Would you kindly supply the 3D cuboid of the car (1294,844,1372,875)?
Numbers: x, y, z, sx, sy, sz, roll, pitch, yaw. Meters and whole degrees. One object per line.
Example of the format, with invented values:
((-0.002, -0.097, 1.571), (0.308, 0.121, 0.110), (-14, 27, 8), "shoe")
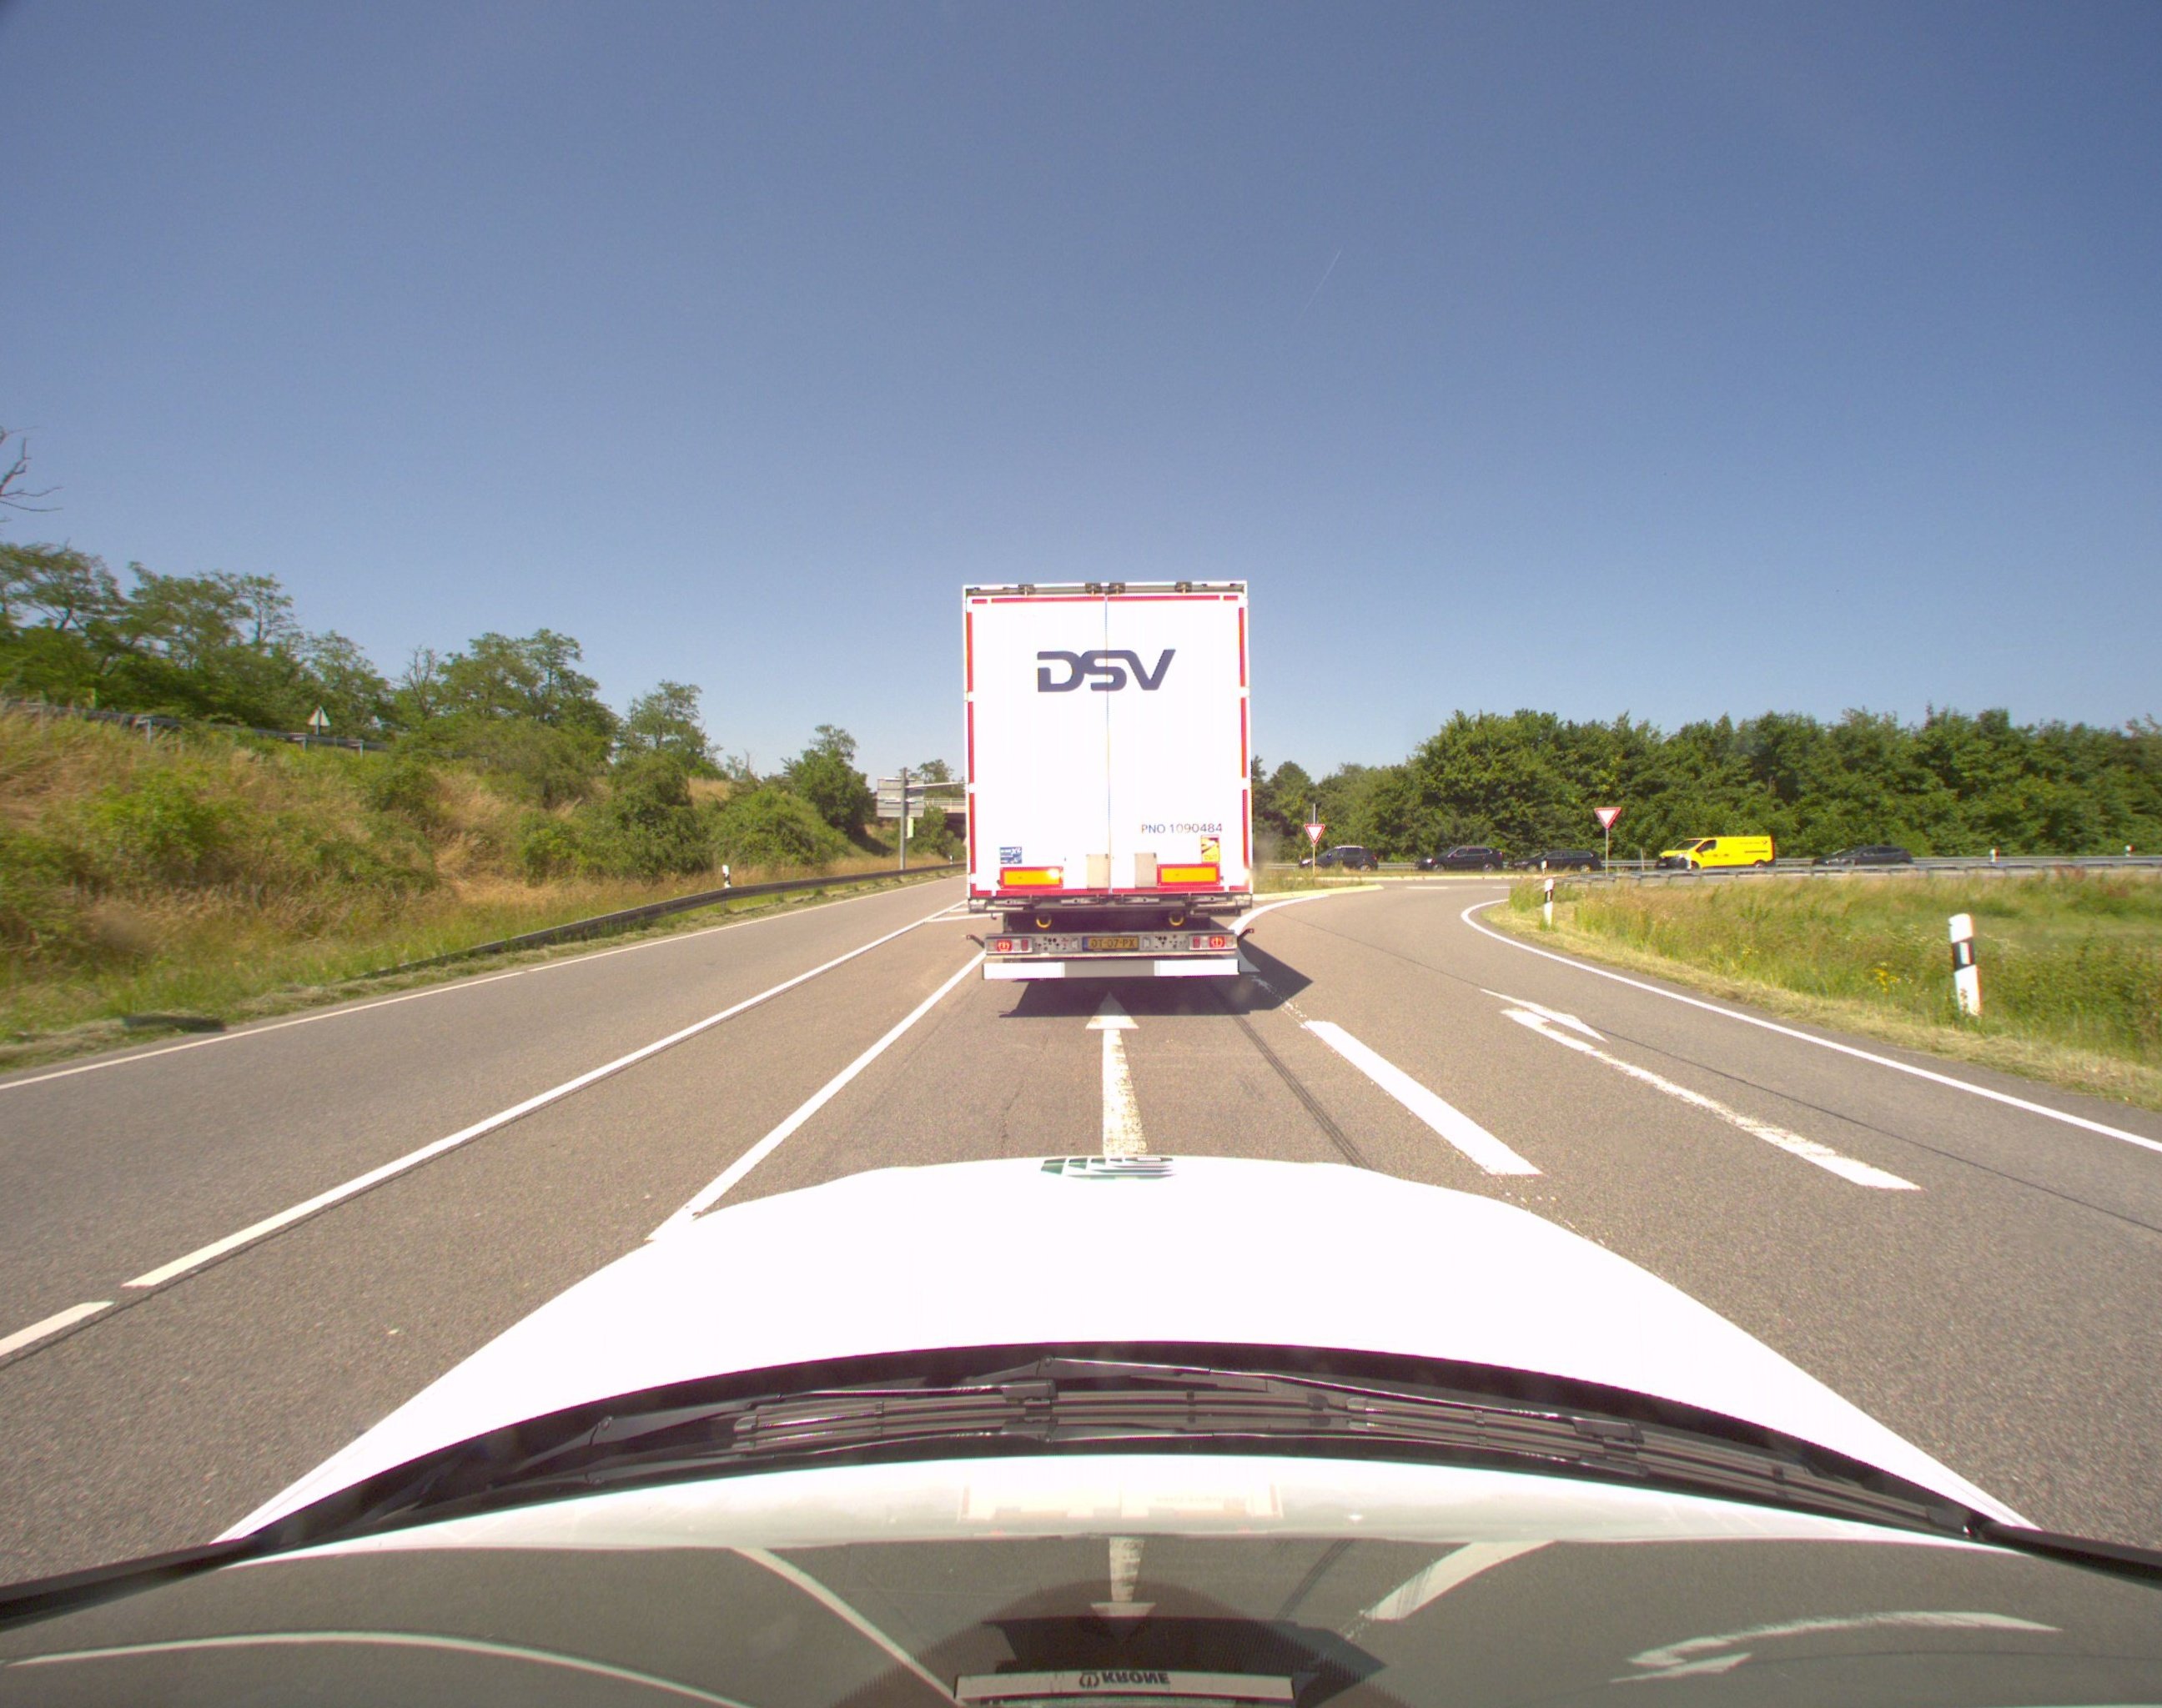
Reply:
((14.194, 0.316, 46.105), (3.964, 1.640, 1.845), (-1, -1, 7), "car")

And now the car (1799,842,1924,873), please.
((41.206, 0.191, 43.086), (4.662, 1.514, 1.855), (-1, -1, 3), "car")

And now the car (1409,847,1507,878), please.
((20.250, 0.441, 43.921), (4.466, 1.598, 1.770), (-1, -1, 4), "car")

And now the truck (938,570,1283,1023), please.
((0.368, -0.500, 12.098), (2.977, 3.942, 9.878), (-1, 0, 1), "truck")

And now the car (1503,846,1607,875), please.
((26.212, 0.360, 45.175), (4.655, 1.514, 1.858), (-1, -1, 8), "car")

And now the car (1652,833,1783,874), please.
((33.659, -0.015, 43.198), (5.300, 2.014, 2.001), (-1, -1, 2), "car")
